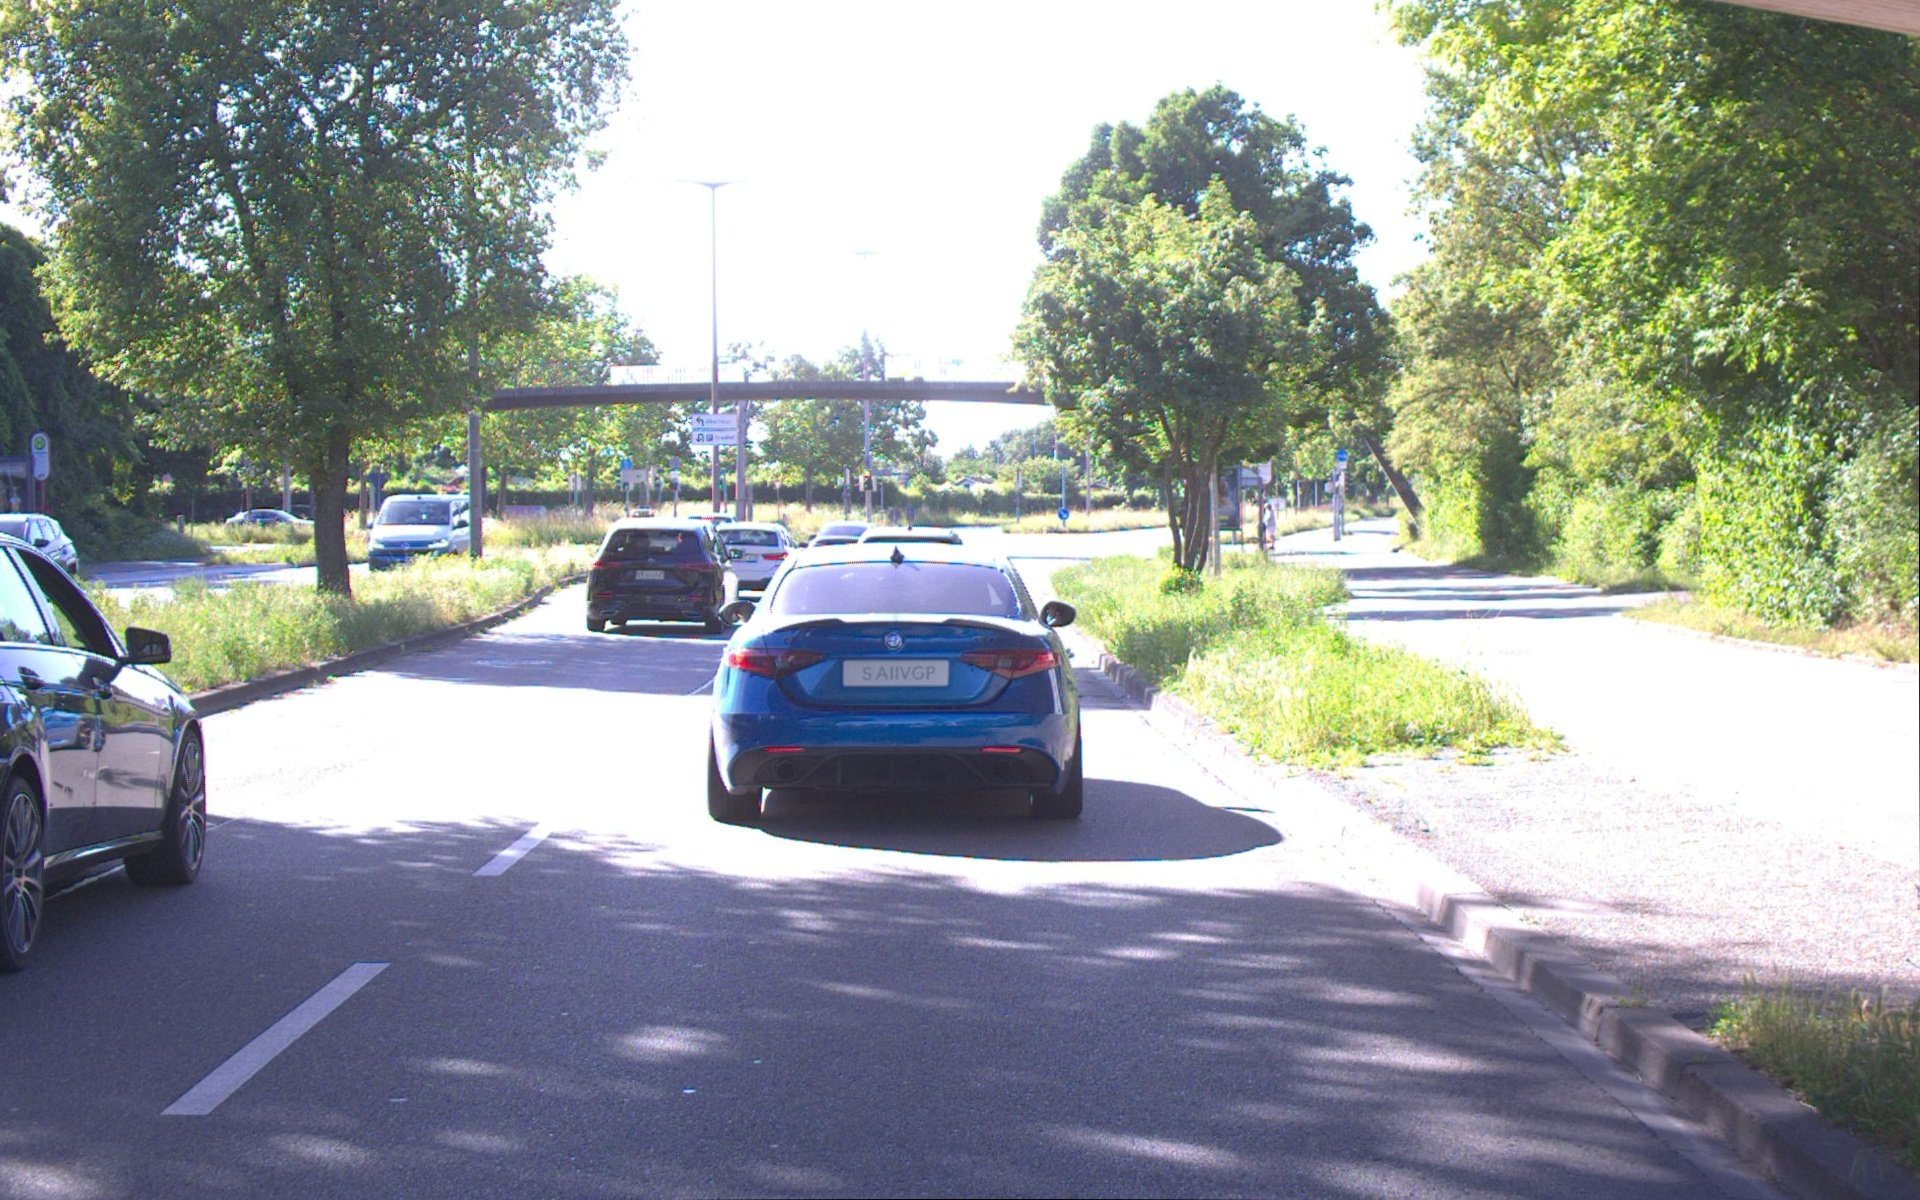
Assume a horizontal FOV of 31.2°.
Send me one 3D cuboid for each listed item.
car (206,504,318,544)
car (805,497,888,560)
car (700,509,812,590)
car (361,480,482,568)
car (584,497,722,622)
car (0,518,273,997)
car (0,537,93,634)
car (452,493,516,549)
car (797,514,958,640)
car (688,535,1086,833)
[{"bbox_3d":[-29.994,-3.263,147.804,4.311,1.645,1.998,1,1,20],"label":"car"},{"bbox_3d":[-2.706,-1.716,82.805,1.883,1.449,4.527,1,1,-1],"label":"car"},{"bbox_3d":[-3.819,-0.969,65.057,1.883,1.449,4.527,1,1,-1],"label":"car"},{"bbox_3d":[-12.228,-1.725,78.384,1.993,1.922,5.246,0,1,-1],"label":"car"},{"bbox_3d":[-4.103,-0.566,46.435,1.707,1.592,4.225,1,1,-3],"label":"car"},{"bbox_3d":[-3.945,0.444,12.398,1.959,1.478,4.919,0,1,0],"label":"car"},{"bbox_3d":[-16.248,-0.286,58.158,1.982,1.547,4.593,1,1,0],"label":"car"},{"bbox_3d":[-17.490,-2.892,126.486,1.993,2.007,4.583,1,1,-4],"label":"car"},{"bbox_3d":[-1.002,-0.313,42.802,1.883,1.449,4.527,1,1,-1],"label":"car"},{"bbox_3d":[-0.376,0.363,18.531,1.883,1.401,4.224,1,1,-1],"label":"car"}]
